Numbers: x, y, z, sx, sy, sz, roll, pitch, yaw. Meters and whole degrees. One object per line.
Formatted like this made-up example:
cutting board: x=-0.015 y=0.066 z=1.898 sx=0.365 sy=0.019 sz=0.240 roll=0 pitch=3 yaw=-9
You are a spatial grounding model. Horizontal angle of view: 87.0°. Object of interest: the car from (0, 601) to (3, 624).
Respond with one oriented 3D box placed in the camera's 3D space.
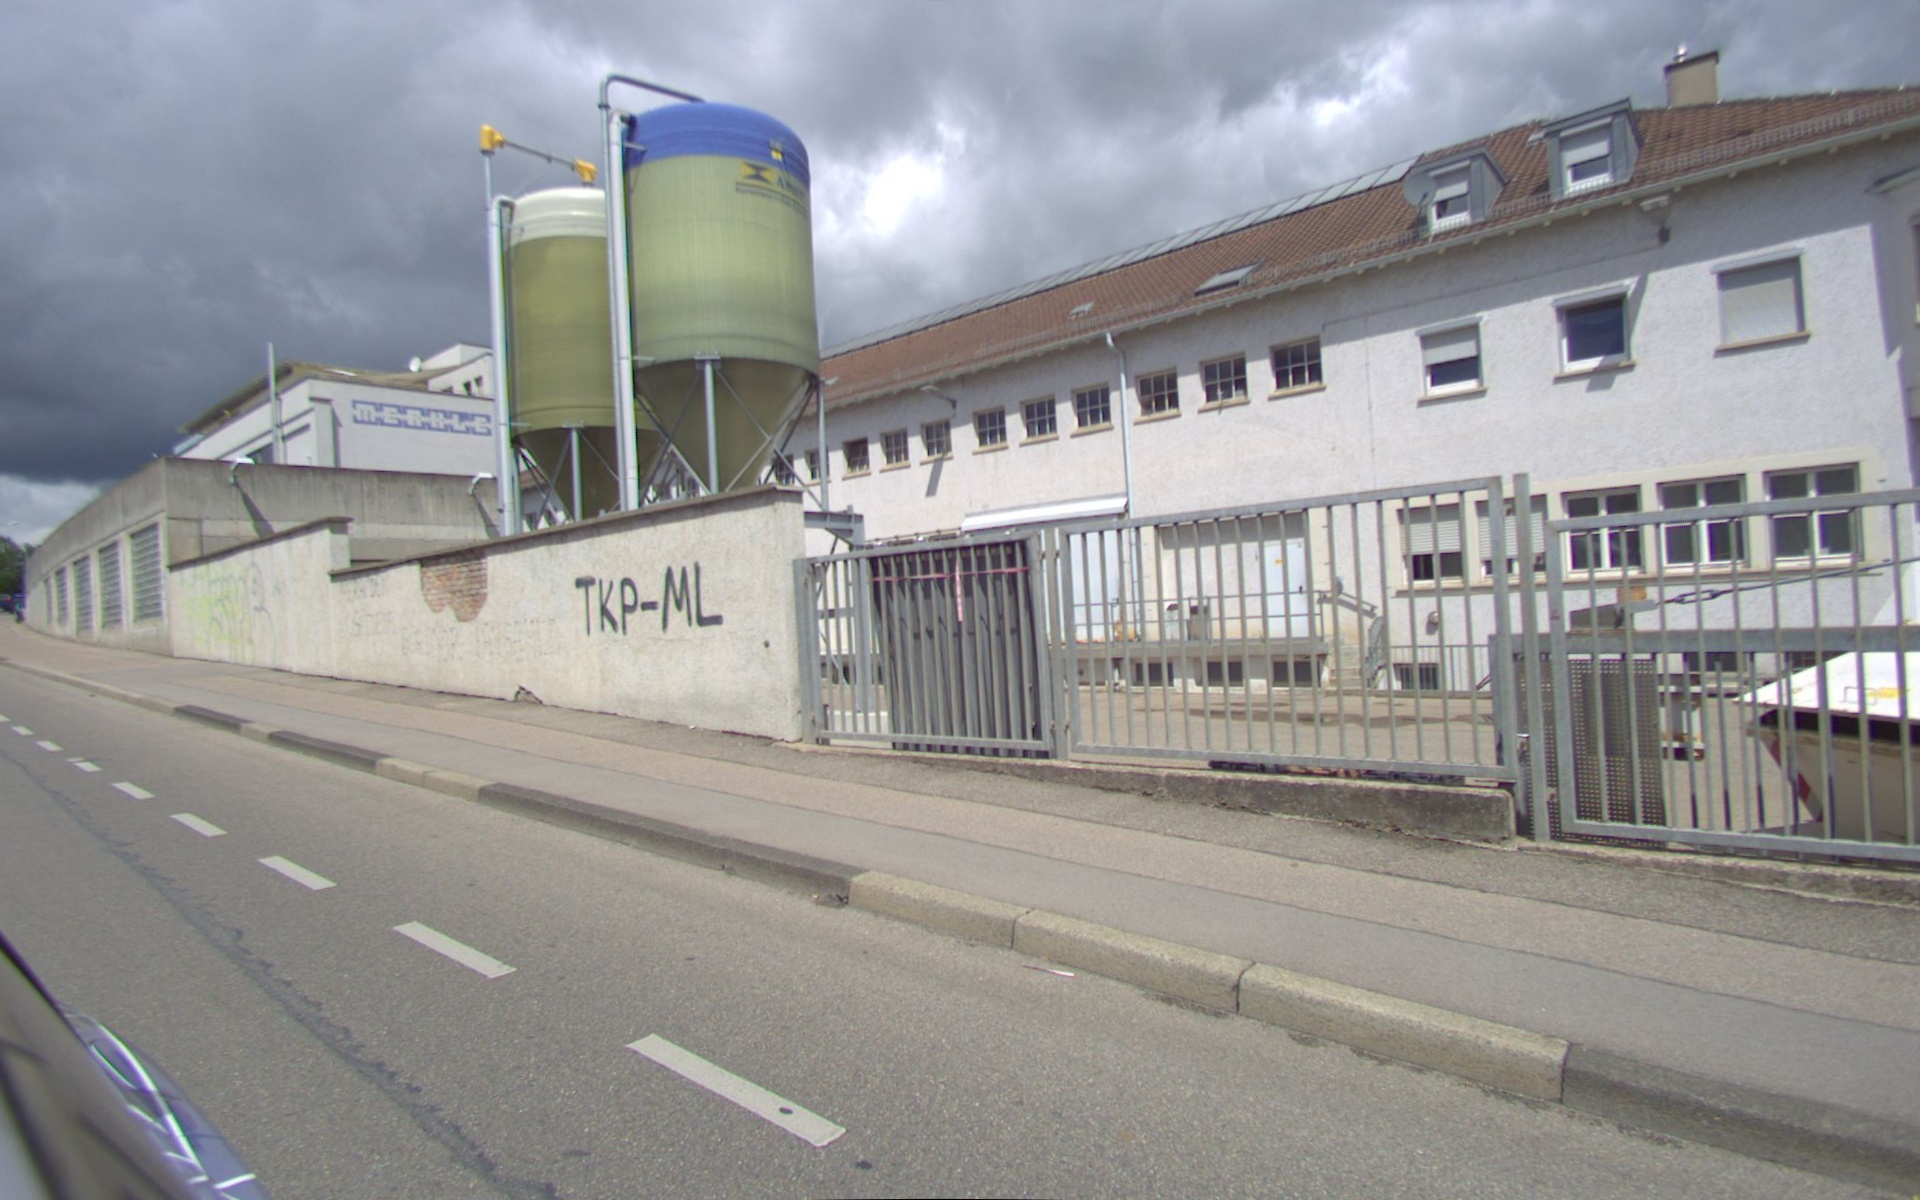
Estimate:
car: x=-79.710 y=1.019 z=83.021 sx=3.782 sy=1.831 sz=1.608 roll=0 pitch=0 yaw=45
